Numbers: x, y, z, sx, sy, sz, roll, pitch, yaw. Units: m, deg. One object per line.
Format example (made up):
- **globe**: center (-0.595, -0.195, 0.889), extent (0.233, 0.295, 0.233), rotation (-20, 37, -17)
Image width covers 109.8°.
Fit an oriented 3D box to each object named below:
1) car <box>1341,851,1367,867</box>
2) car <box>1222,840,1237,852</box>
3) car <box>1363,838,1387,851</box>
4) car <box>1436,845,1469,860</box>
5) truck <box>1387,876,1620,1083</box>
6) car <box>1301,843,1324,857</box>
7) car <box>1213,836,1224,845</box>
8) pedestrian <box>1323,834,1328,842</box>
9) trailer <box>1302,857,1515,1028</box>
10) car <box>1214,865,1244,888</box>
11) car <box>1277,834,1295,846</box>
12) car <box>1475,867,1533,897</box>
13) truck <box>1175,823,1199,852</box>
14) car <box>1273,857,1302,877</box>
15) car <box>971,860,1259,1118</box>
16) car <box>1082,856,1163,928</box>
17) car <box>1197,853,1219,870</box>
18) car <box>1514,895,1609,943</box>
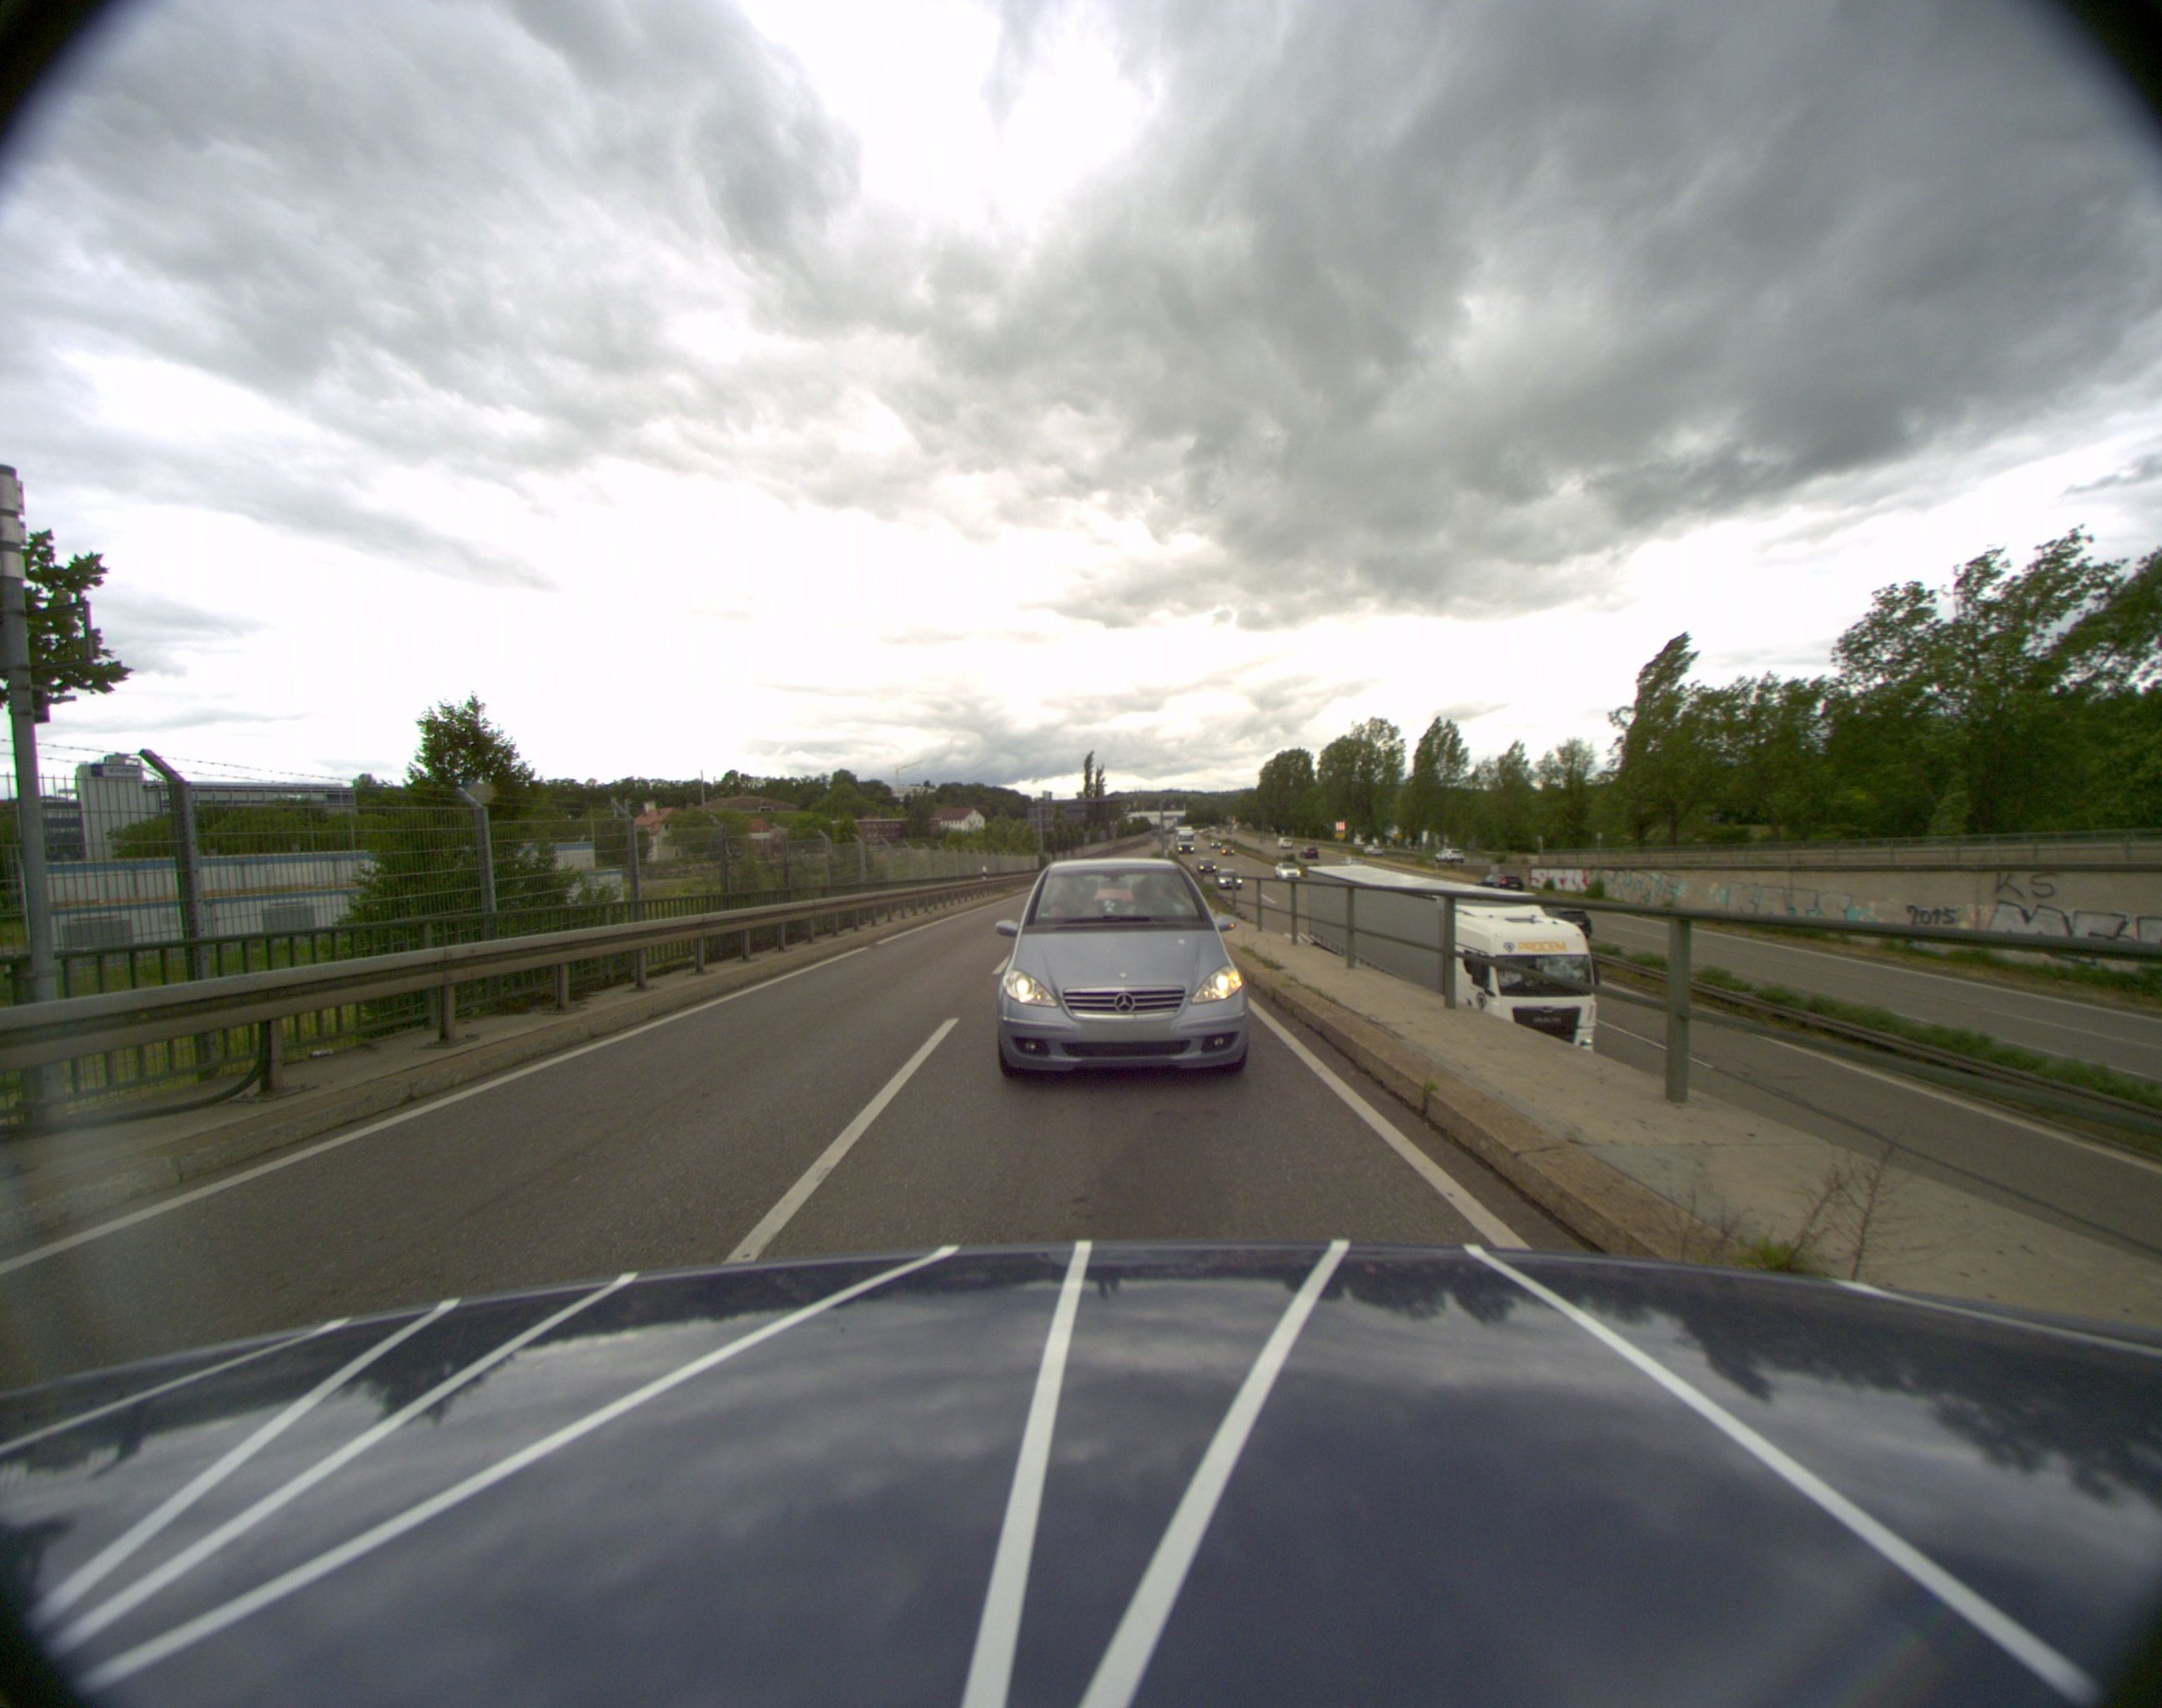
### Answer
- **car**: center (30.281, 0.562, 84.377), extent (1.732, 1.520, 4.086), rotation (0, 3, 4)
- **car**: center (23.025, -1.236, 117.753), extent (1.858, 1.598, 4.165), rotation (-1, 3, 4)
- **car**: center (43.537, -1.353, 112.588), extent (1.998, 1.859, 4.213), rotation (-1, 0, 1)
- **car**: center (42.096, -0.171, 86.196), extent (1.837, 1.567, 4.347), rotation (-1, 0, 3)
- **truck**: center (11.017, 2.994, 20.769), extent (2.758, 4.228, 6.695), rotation (0, 3, 2)
- **car**: center (32.476, -0.600, 106.681), extent (1.920, 1.729, 4.550), rotation (-1, 3, 0)
- **car**: center (26.111, -2.559, 144.615), extent (1.857, 1.598, 4.166), rotation (-1, 3, 7)
- **pedestrian**: center (54.435, -3.594, 169.071), extent (0.831, 1.696, 1.077), rotation (-2, 4, 3)
- **trailer**: center (11.337, 2.595, 28.510), extent (2.758, 4.228, 13.145), rotation (0, 3, 2)
- **car**: center (12.716, 1.905, 65.544), extent (1.858, 1.598, 4.164), rotation (-1, 3, 2)
- **car**: center (37.915, -2.622, 140.593), extent (1.998, 2.056, 5.175), rotation (-2, 3, 2)
- **car**: center (31.900, 2.083, 57.452), extent (1.936, 1.831, 4.408), rotation (-1, 3, 1)
- **truck**: center (17.659, -2.863, 127.265), extent (3.179, 4.501, 11.121), rotation (-1, 3, 4)
- **car**: center (20.116, 1.275, 74.094), extent (1.858, 1.598, 4.164), rotation (-1, 3, 2)
- **car**: center (0.300, 0.881, 6.816), extent (1.780, 1.578, 4.001), rotation (-1, 0, 3)
- **car**: center (1.076, 0.864, 19.096), extent (1.780, 1.578, 4.001), rotation (-1, 0, 4)
- **car**: center (14.000, 0.799, 83.960), extent (1.858, 1.598, 4.164), rotation (-1, 3, 2)
- **car**: center (24.471, 3.265, 38.914), extent (1.998, 1.831, 4.421), rotation (0, 3, 1)
